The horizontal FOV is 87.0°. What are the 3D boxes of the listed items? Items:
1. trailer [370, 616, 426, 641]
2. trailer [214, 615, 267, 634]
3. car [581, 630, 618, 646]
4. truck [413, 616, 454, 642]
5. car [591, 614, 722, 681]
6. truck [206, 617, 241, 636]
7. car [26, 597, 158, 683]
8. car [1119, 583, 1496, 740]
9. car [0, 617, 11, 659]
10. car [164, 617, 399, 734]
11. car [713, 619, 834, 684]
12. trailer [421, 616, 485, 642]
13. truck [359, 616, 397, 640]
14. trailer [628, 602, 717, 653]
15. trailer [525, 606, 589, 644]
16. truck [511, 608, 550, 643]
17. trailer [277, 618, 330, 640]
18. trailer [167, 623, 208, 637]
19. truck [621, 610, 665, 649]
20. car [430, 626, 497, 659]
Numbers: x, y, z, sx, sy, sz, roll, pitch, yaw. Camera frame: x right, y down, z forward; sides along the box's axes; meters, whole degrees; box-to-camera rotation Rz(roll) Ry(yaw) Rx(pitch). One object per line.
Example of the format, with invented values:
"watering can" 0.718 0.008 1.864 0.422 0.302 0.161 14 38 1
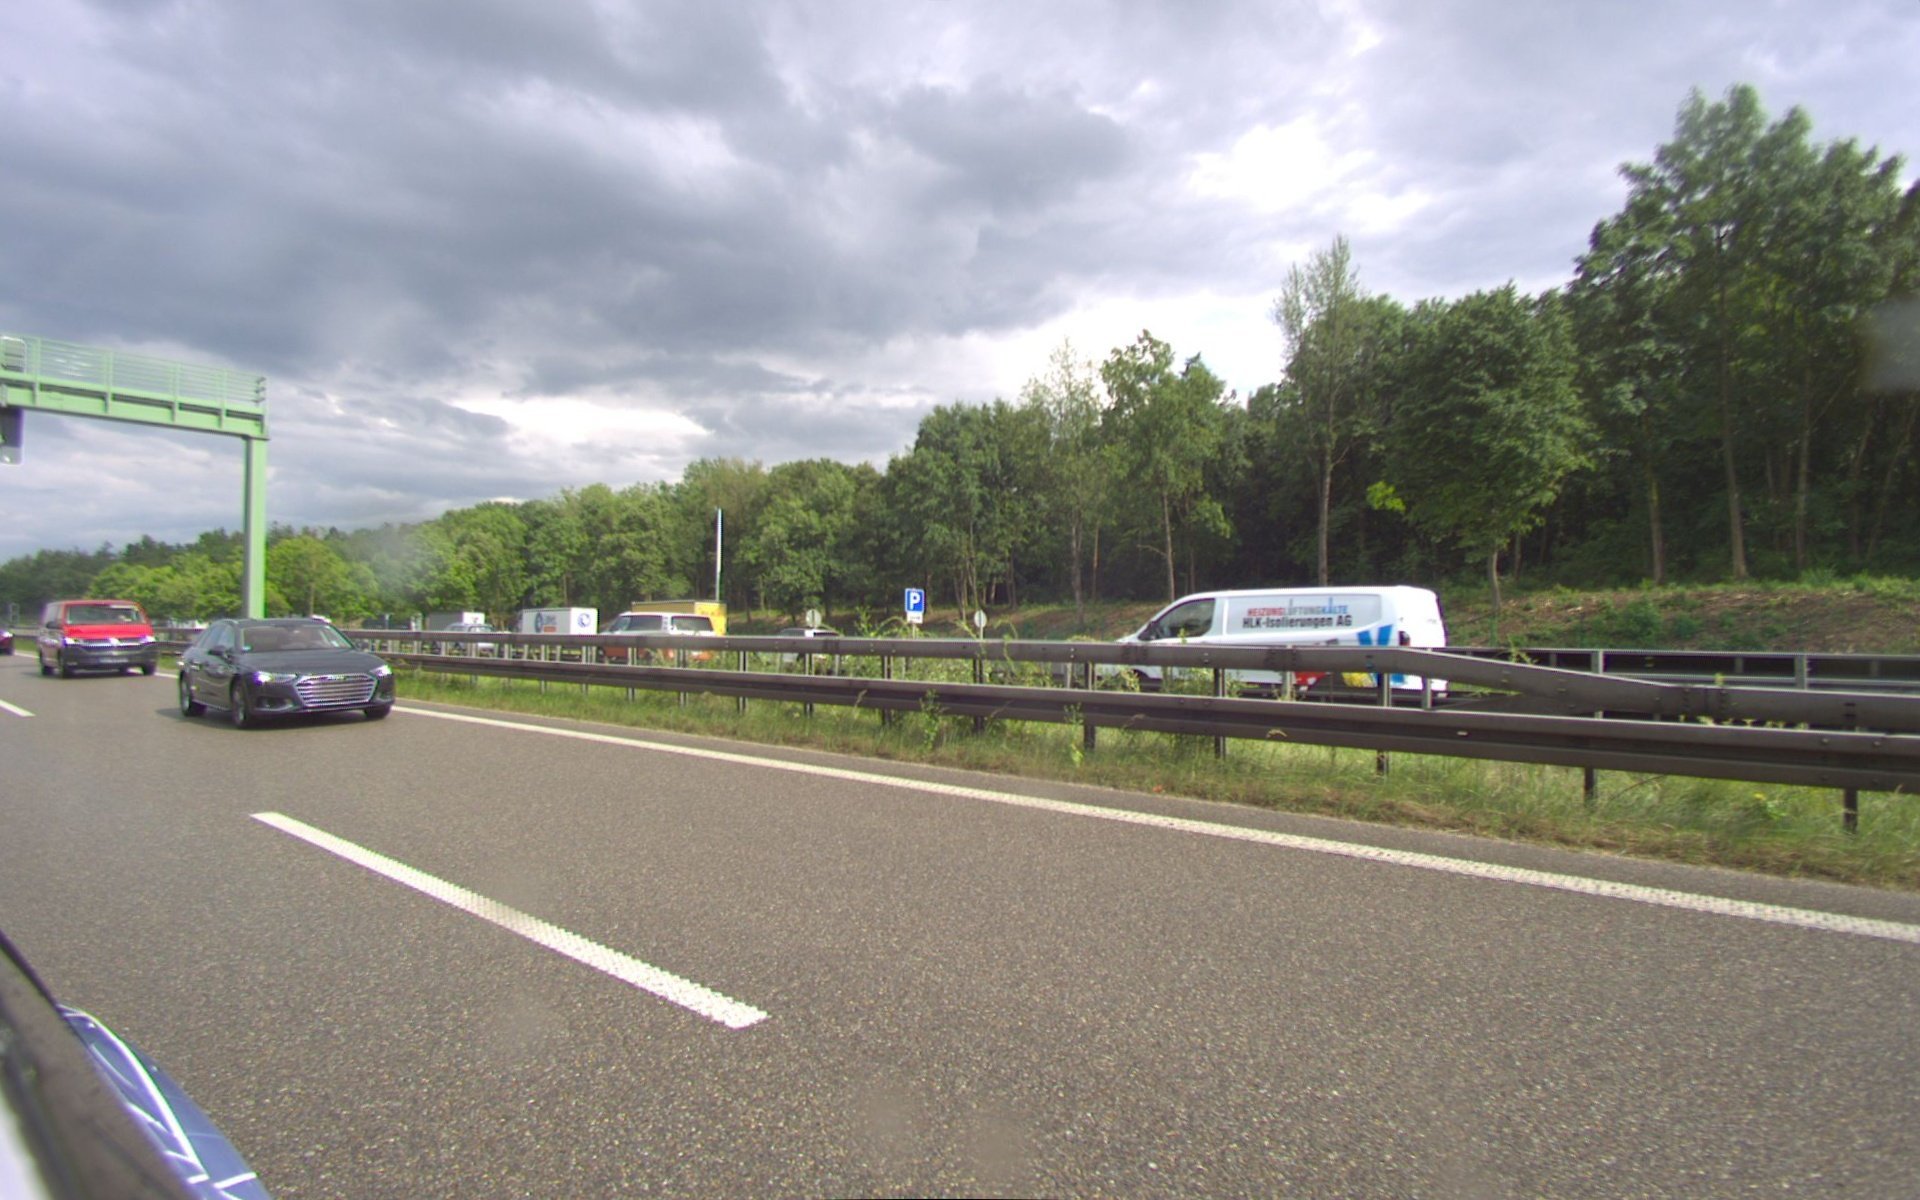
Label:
"trailer" -77.767 3.915 139.902 12.640 3.297 2.577 -1 -3 41
"trailer" -125.357 4.263 176.294 13.374 3.297 3.050 -1 -2 34
"car" -33.673 3.553 94.510 1.871 1.514 4.005 2 -3 -41
"truck" -68.798 3.792 132.130 5.596 3.208 3.009 -1 -3 43
"car" -9.453 1.418 31.385 4.287 1.926 1.904 -1 -2 41
"truck" -131.301 4.668 180.348 6.081 3.280 3.047 -1 -3 34
"car" -22.322 0.982 25.953 4.747 2.000 1.871 -1 -1 41
"car" 4.764 0.763 14.307 4.617 1.848 1.973 -2 0 41
"car" -40.714 1.552 41.707 4.292 1.682 1.871 -1 -1 40
"car" -9.872 0.980 14.587 4.465 1.422 1.701 -1 -1 41
"car" -6.444 1.714 34.766 3.998 2.029 1.973 -1 0 41
"trailer" -64.066 3.671 127.710 12.173 3.217 2.987 -1 -3 43
"truck" -83.134 3.980 144.511 6.532 3.275 2.549 -1 -3 41
"trailer" -22.966 2.059 80.057 1.967 3.723 13.688 0 0 -37
"trailer" -41.263 2.579 103.226 2.156 3.627 11.734 2 -3 -42
"truck" -46.059 2.738 108.564 2.136 3.648 5.585 2 -3 -42
"trailer" -105.025 4.655 161.848 12.631 3.297 3.153 -1 -3 38
"trailer" -142.896 5.483 187.177 9.838 2.594 2.512 -1 -1 30
"truck" -26.677 2.415 85.052 1.950 3.121 5.087 -1 0 -37
"car" -24.313 2.059 49.542 3.784 1.493 1.614 -2 -1 41
